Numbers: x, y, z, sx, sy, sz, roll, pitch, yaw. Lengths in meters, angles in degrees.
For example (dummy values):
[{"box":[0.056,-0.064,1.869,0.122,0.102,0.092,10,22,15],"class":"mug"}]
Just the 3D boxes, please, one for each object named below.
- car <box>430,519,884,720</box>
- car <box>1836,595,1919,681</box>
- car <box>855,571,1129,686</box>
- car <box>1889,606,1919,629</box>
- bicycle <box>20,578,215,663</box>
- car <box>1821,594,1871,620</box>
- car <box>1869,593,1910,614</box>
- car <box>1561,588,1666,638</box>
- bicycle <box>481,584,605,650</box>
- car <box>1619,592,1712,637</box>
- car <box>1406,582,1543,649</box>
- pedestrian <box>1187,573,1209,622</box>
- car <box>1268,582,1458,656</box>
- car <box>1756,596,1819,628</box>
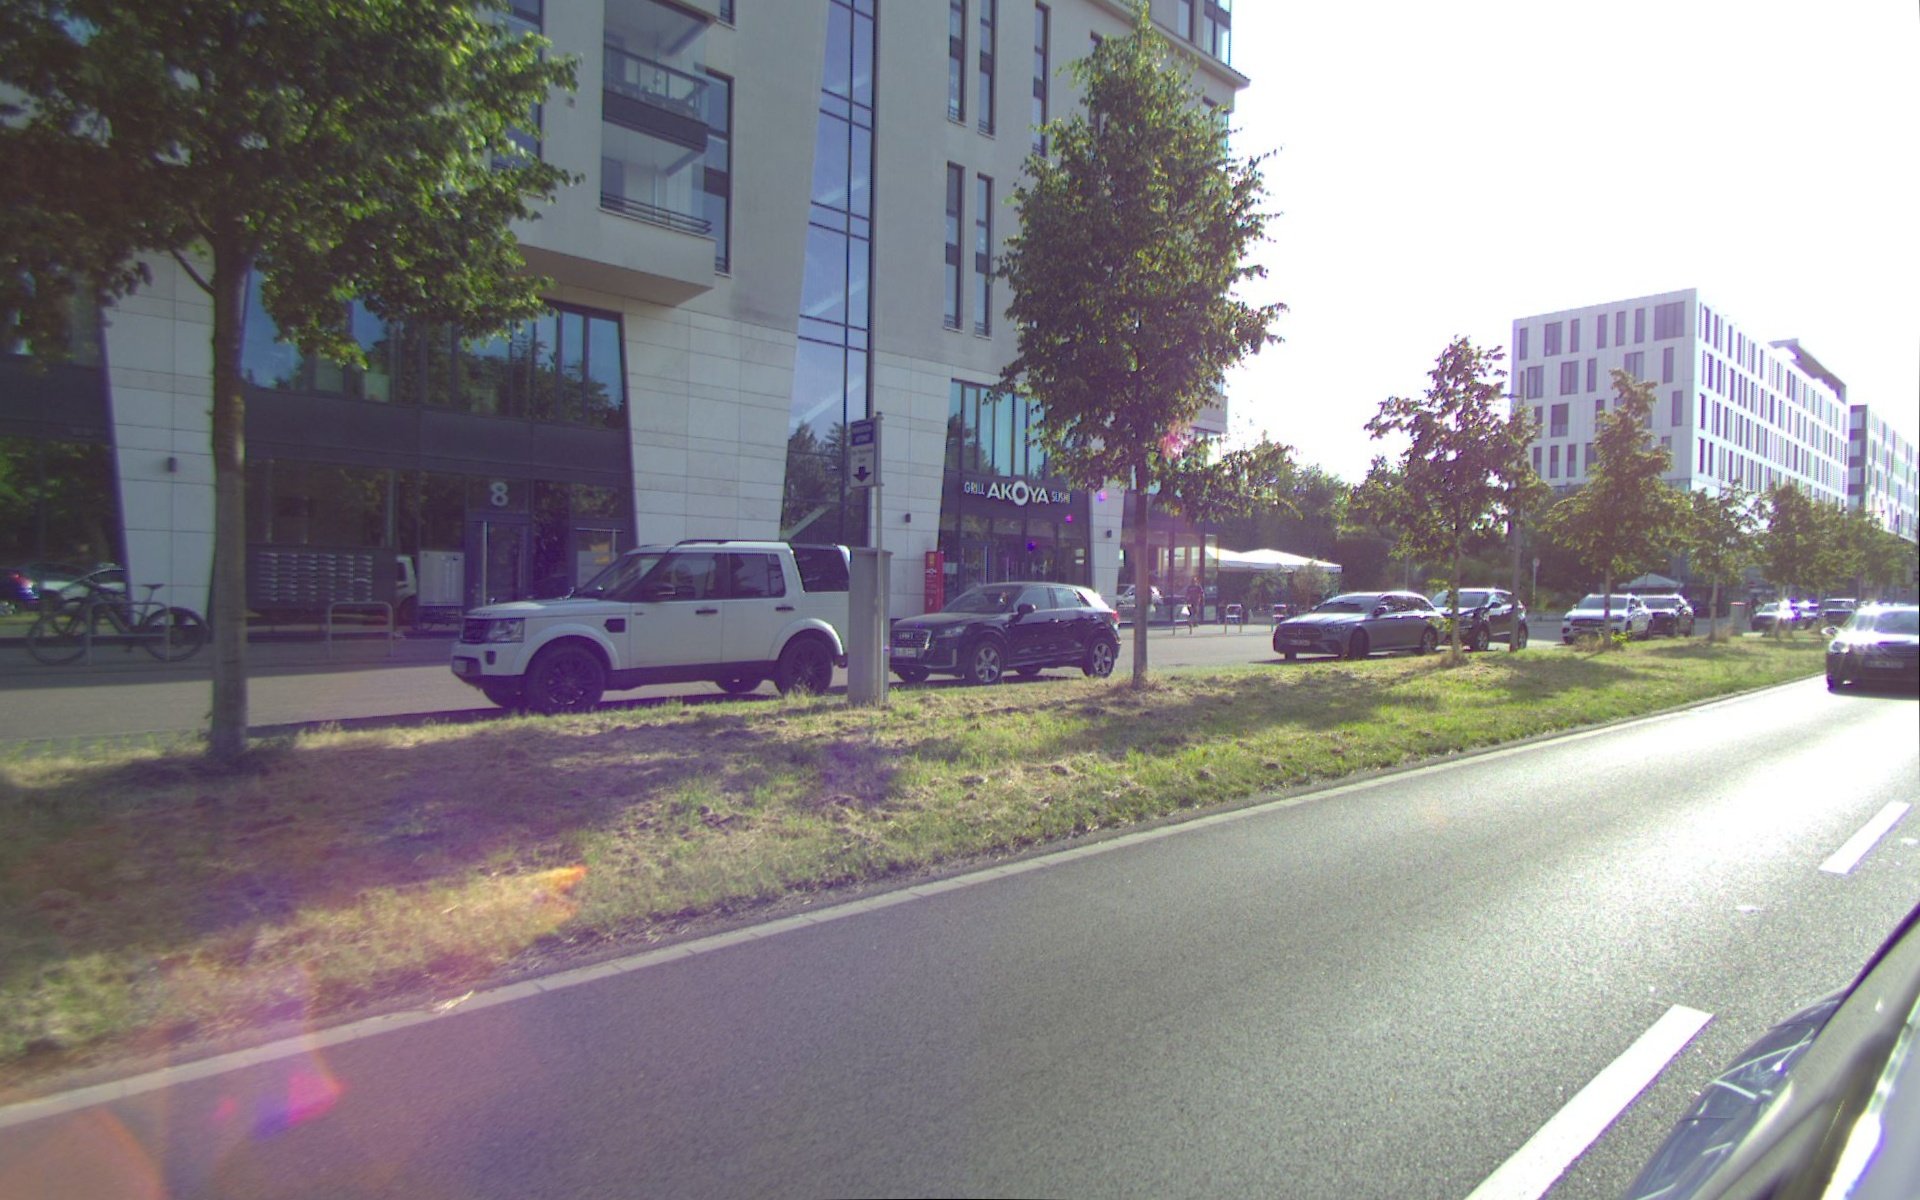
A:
[{"box":[-3.355,0.169,11.860,4.761,1.898,1.897,-1,0,-42],"class":"car"},{"box":[17.522,0.632,18.545,3.969,1.442,1.697,-1,0,-41],"class":"car"},{"box":[0.591,0.364,15.349,4.140,1.507,1.761,-1,0,-44],"class":"car"},{"box":[76.251,1.401,81.476,3.826,1.810,1.739,-1,0,-41],"class":"car"},{"box":[-11.593,0.251,14.000,2.041,1.083,0.512,-1,3,-41],"class":"bicycle"},{"box":[55.750,0.439,63.667,4.253,1.549,1.838,-1,0,-41],"class":"car"},{"box":[70.291,0.268,76.513,4.253,1.549,1.838,-1,0,-41],"class":"car"},{"box":[21.649,0.381,33.458,4.253,1.549,1.838,-1,0,-41],"class":"car"},{"box":[-7.250,0.275,17.656,1.949,1.083,0.512,-1,3,-41],"class":"bicycle"},{"box":[26.043,0.512,37.322,4.253,1.549,1.838,-1,0,-41],"class":"car"},{"box":[13.533,0.354,26.521,4.253,1.618,1.762,-1,0,-41],"class":"car"},{"box":[8.024,-0.085,34.131,0.562,1.621,0.499,0,-1,-41],"class":"pedestrian"},{"box":[9.128,0.371,22.735,4.829,1.507,1.764,-1,0,-38],"class":"car"},{"box":[42.095,0.584,51.446,4.253,1.549,1.838,-1,0,-41],"class":"car"}]
